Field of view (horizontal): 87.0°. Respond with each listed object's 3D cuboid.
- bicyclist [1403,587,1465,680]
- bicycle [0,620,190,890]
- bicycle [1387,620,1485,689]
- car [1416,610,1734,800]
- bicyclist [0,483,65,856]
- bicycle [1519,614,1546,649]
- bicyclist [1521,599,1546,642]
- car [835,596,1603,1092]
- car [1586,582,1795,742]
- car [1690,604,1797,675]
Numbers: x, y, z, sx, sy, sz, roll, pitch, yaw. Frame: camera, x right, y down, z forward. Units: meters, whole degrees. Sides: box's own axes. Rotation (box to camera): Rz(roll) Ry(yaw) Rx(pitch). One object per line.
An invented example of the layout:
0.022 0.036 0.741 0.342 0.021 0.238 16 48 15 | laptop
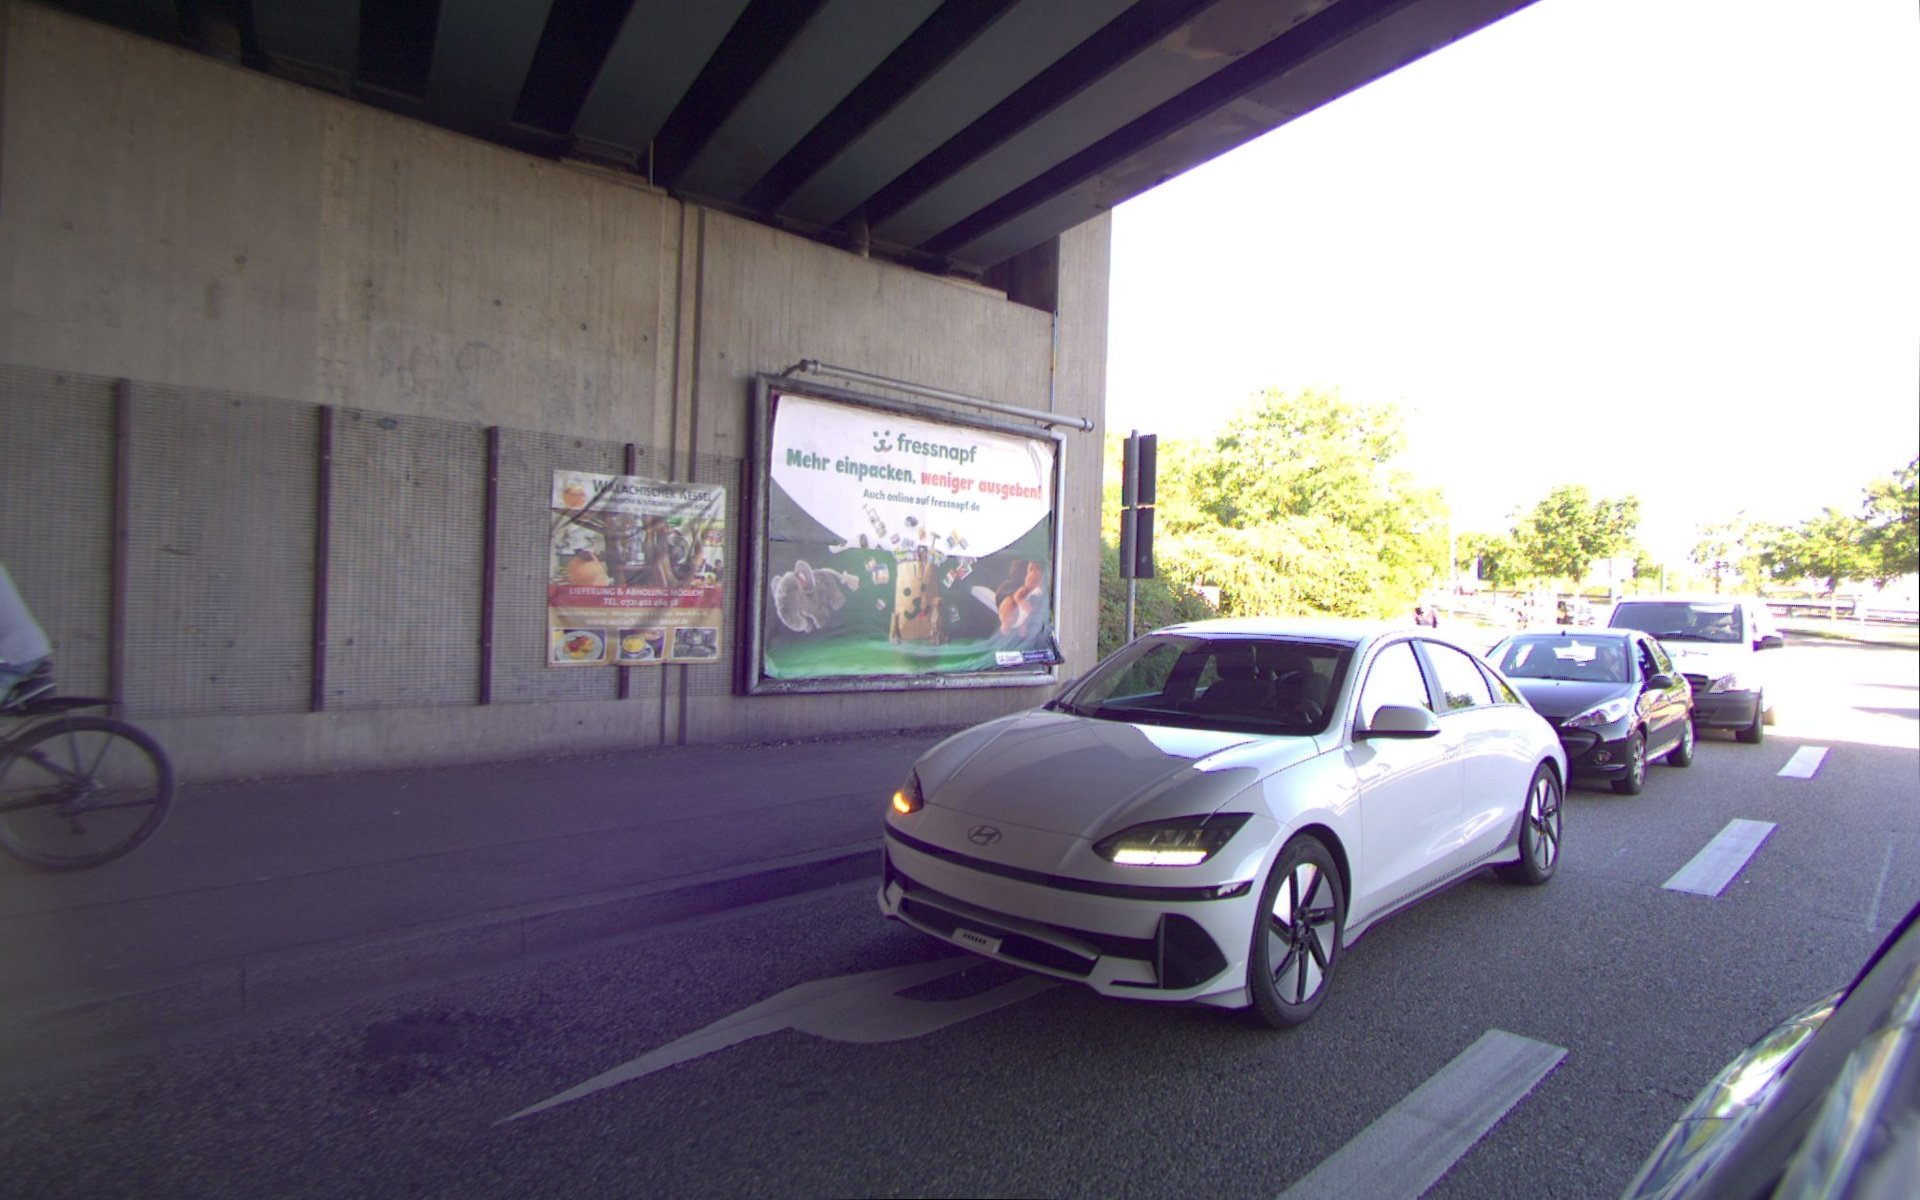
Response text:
8.840 0.606 18.871 0.871 1.676 0.748 0 -1 -41 | bicyclist
-4.378 0.644 4.283 1.729 1.070 0.703 1 2 -40 | bicycle
8.938 0.987 18.954 2.426 1.160 0.766 0 0 -41 | bicycle
6.107 0.852 9.887 3.653 1.474 1.747 1 0 -43 | car
-4.385 0.270 4.260 0.893 1.542 0.697 0 3 -40 | bicyclist
21.425 1.158 37.886 0.646 1.181 1.763 4 2 24 | bicycle
21.427 0.765 37.837 0.648 1.553 0.840 4 1 24 | bicyclist
1.717 0.741 5.265 4.586 1.474 1.747 1 0 -44 | car
10.377 0.746 14.219 1.896 1.859 4.761 0 -1 42 | car
19.853 0.920 25.612 1.990 1.571 4.358 1 0 39 | car
